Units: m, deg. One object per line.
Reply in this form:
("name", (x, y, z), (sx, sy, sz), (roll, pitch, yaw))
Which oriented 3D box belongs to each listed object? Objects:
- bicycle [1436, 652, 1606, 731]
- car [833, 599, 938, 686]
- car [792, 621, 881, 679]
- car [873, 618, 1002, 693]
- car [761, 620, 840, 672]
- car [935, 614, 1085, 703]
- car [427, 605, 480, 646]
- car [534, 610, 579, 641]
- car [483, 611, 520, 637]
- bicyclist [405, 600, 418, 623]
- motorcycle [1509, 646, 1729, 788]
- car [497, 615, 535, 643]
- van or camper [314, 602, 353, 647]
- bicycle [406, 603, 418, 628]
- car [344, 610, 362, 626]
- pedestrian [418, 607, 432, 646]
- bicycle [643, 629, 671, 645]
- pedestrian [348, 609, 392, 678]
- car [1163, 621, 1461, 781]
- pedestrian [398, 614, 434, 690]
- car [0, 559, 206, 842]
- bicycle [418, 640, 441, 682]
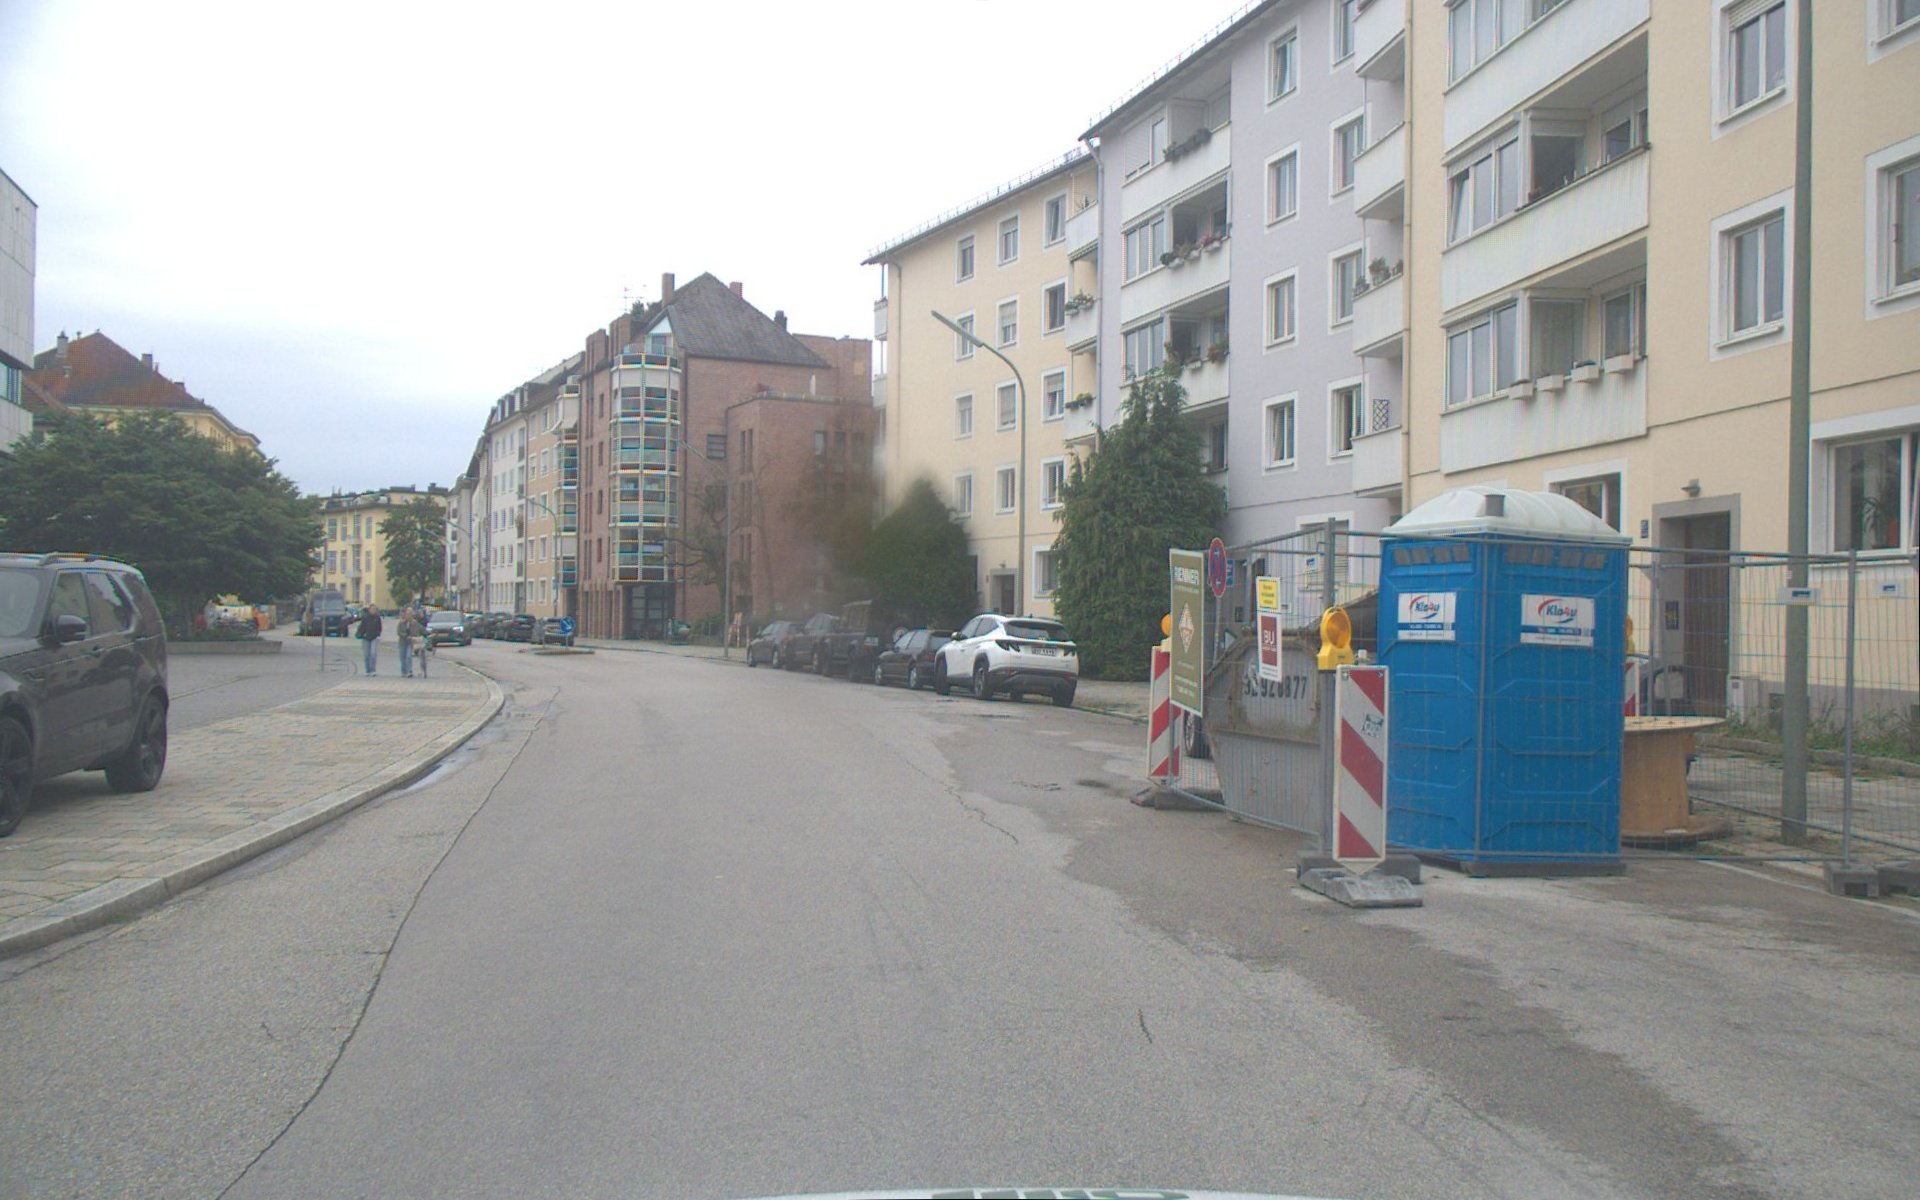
("bicycle", (8.227, 1.336, 24.284), (2.191, 1.088, 0.918), (1, -1, -9))
("car", (-1.901, 1.025, 41.220), (1.752, 2.011, 3.703), (-1, 0, -16))
("car", (-3.519, 1.374, 46.421), (1.752, 1.537, 3.703), (1, -1, -16))
("car", (-0.557, 1.214, 36.999), (1.755, 1.545, 3.698), (2, -1, -20))
("car", (-4.919, 1.383, 50.657), (1.752, 1.537, 3.703), (0, -1, -16))
("car", (0.904, 1.098, 32.192), (1.801, 1.601, 3.983), (1, -1, -16))
("car", (-24.107, 1.204, 78.662), (1.967, 1.867, 4.136), (1, -1, -24))
("car", (-20.575, 1.275, 84.244), (1.611, 1.509, 3.584), (1, -1, -23))
("car", (-27.245, 1.414, 98.270), (1.611, 1.509, 3.584), (1, -1, -23))
("bicyclist", (-50.820, 1.058, 153.241), (1.018, 2.049, 1.178), (1, -3, -20))
("motorcycle", (6.472, 1.111, 16.441), (0.914, 1.242, 2.502), (1, 0, -8))
("car", (-25.168, 1.637, 93.727), (1.611, 1.509, 3.584), (1, -1, -23))
("van or camper", (-37.376, 1.474, 98.717), (2.066, 2.596, 4.742), (1, -1, -20))
("bicycle", (-50.730, 1.467, 153.096), (1.010, 2.049, 3.262), (1, -5, -19))
("car", (-60.928, 1.809, 166.120), (1.608, 1.509, 3.590), (1, -1, -19))
("pedestrian", (-20.606, 1.038, 63.675), (0.453, 1.486, 0.441), (1, -2, -13))
("bicycle", (-16.981, 2.057, 92.621), (1.088, 0.869, 1.713), (1, -1, -26))
("pedestrian", (-14.302, 1.055, 40.135), (0.746, 1.658, 0.920), (1, -1, -4))
("car", (3.590, 0.979, 17.695), (1.748, 1.464, 4.273), (1, -1, -8))
("pedestrian", (-13.224, 1.256, 40.220), (0.722, 1.799, 0.917), (1, -1, -13))
("car", (-7.229, 0.641, 11.863), (2.014, 1.766, 4.875), (1, -1, -9))
("bicycle", (-12.956, 1.480, 40.399), (0.382, 0.986, 1.709), (1, -1, -13))
